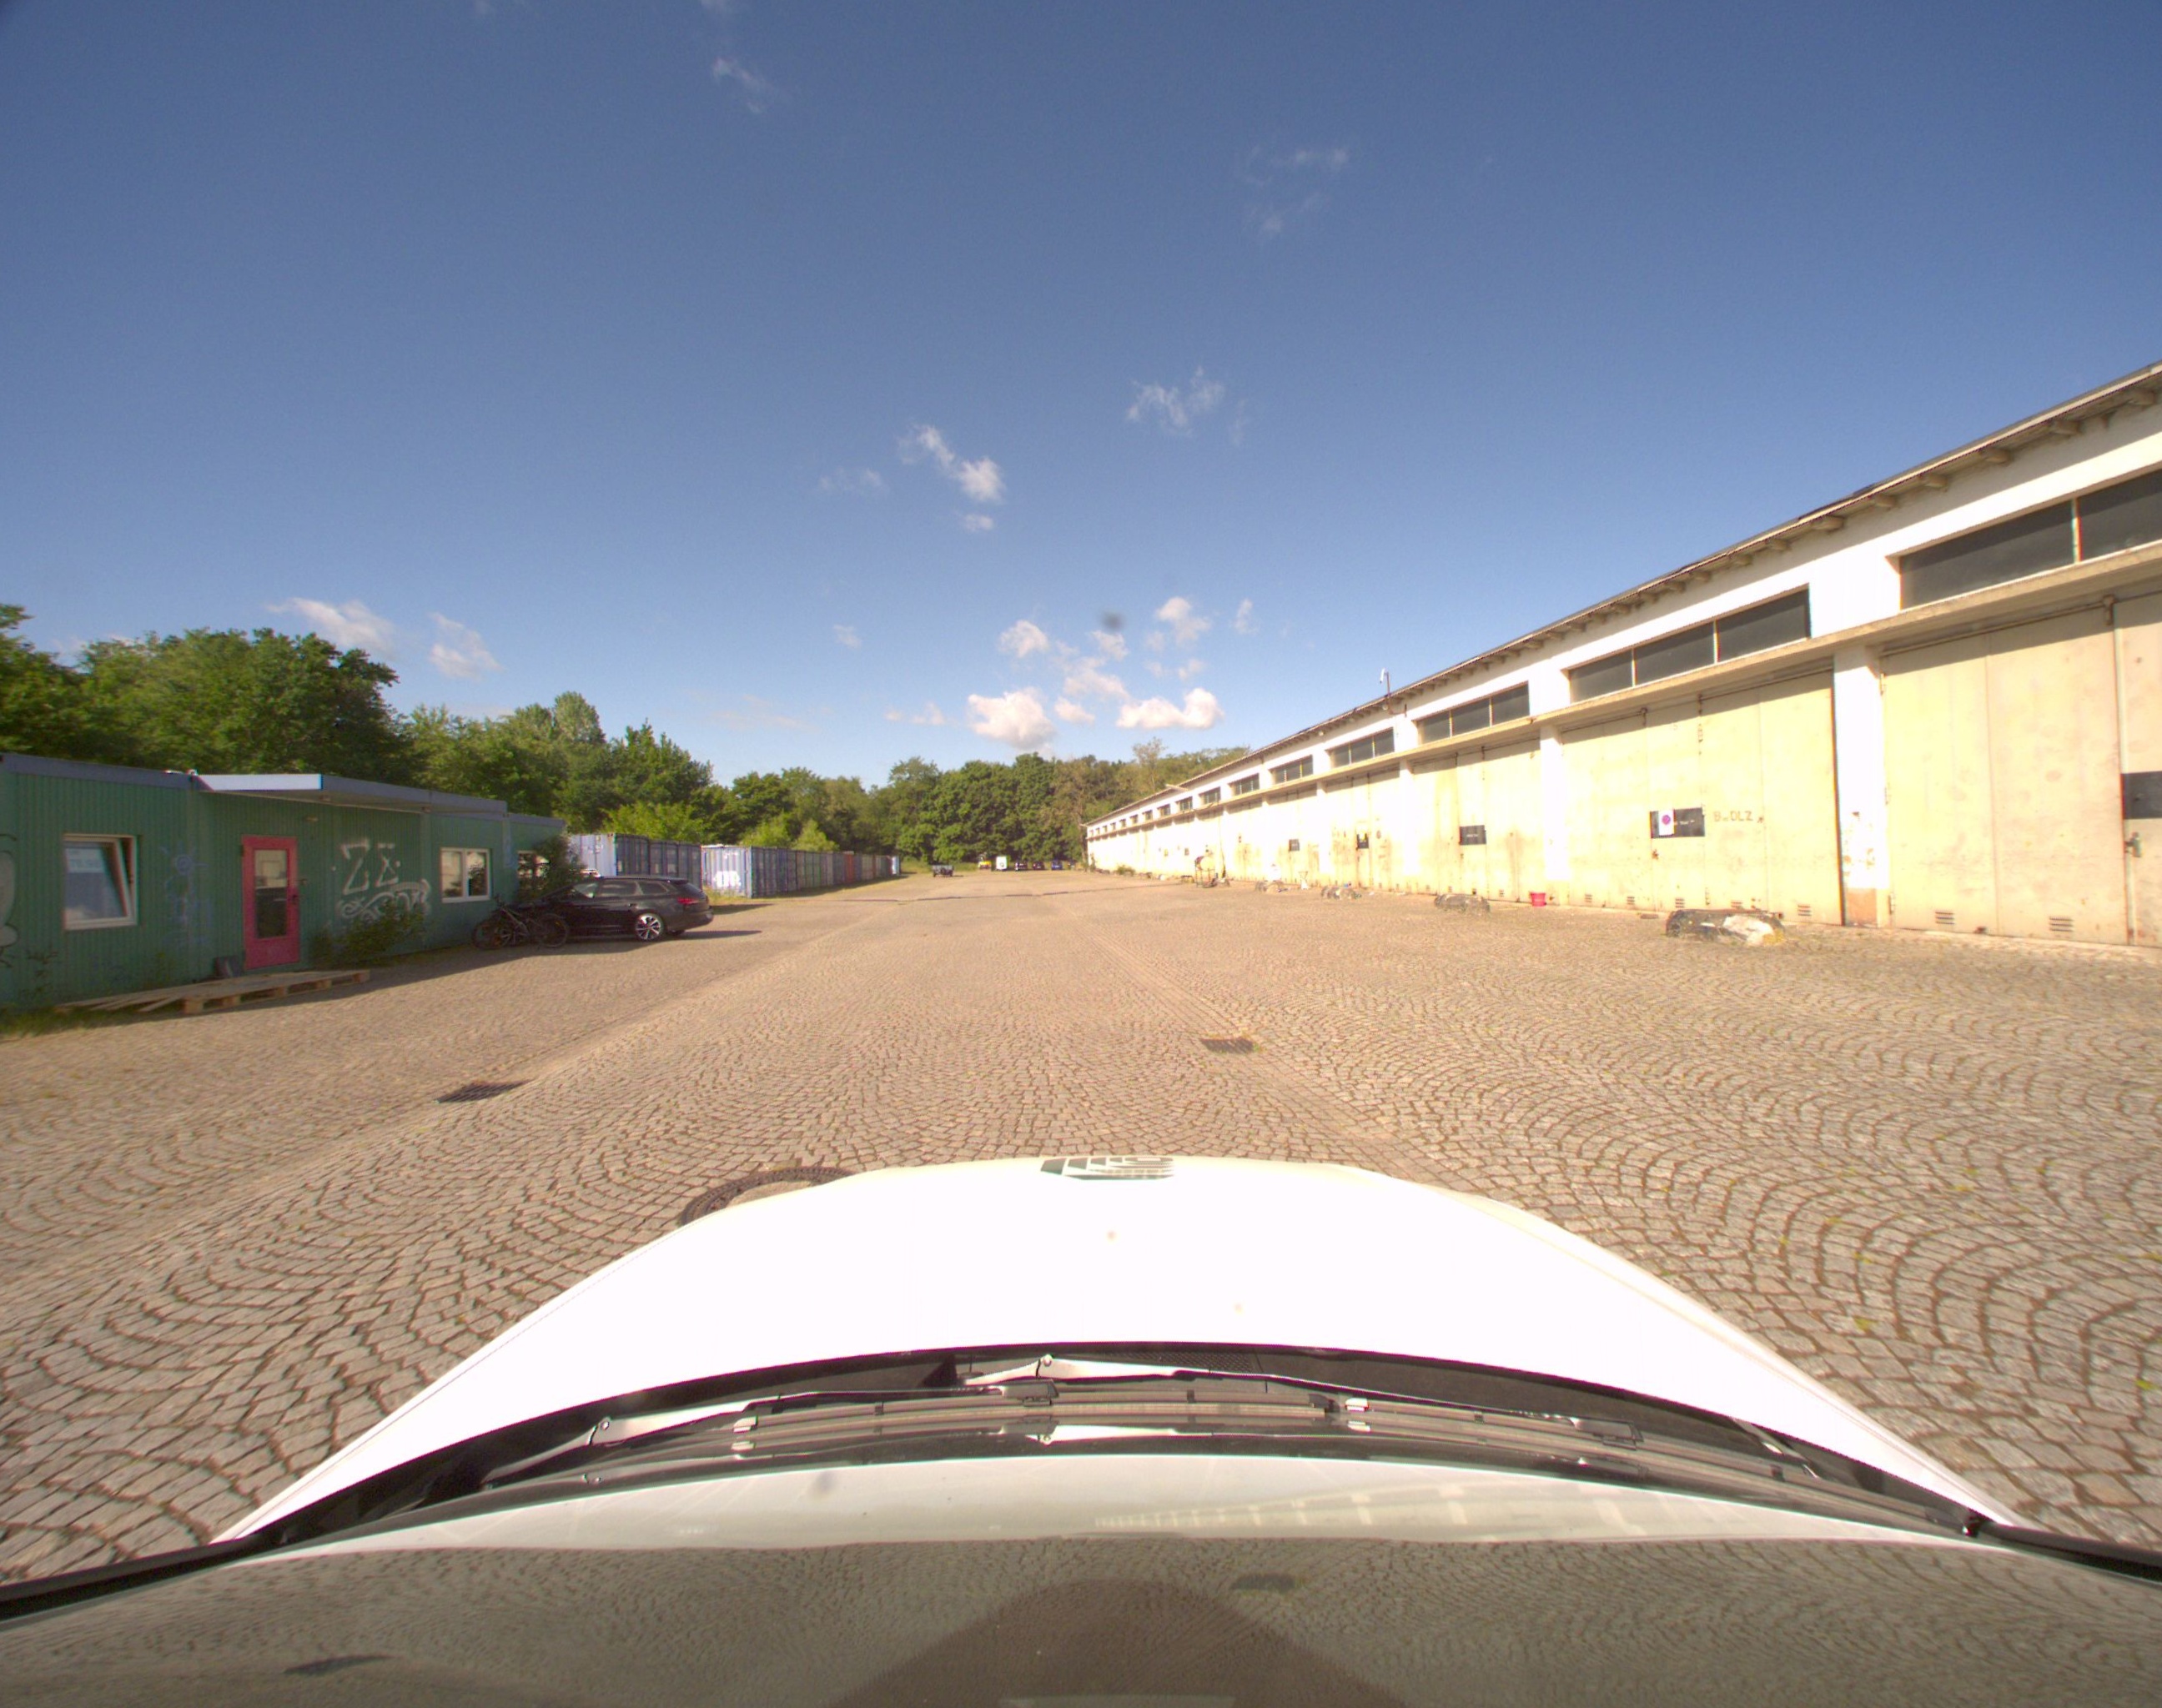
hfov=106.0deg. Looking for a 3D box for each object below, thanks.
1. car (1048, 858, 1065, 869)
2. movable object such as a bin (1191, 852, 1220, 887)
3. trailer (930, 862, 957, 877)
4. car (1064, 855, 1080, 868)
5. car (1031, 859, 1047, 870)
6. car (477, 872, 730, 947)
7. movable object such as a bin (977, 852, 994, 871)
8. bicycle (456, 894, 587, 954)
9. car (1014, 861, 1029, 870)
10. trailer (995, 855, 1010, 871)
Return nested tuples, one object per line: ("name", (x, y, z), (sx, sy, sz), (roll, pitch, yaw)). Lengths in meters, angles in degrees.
("car", (-3.523, 1.339, 117.251), (1.991, 1.466, 3.991), (-2, 0, -6))
("movable object such as a bin", (5.248, 0.653, 34.354), (0.874, 1.401, 1.099), (-2, -1, -7))
("trailer", (-16.499, 1.819, 97.939), (2.789, 1.646, 5.606), (-2, 0, -7))
("car", (-1.316, 1.133, 118.766), (1.991, 1.772, 3.991), (-2, 0, -6))
("car", (-6.092, 1.484, 116.956), (1.991, 1.424, 3.991), (-2, 0, -6))
("car", (-10.438, 1.176, 18.167), (4.414, 1.464, 1.993), (-1, -1, -10))
("movable object such as a bin", (-13.884, 1.094, 117.663), (2.231, 2.657, 3.988), (-2, 0, -9))
("bicycle", (-11.225, 1.382, 16.412), (1.874, 1.027, 1.035), (-2, 0, -9))
("car", (-8.558, 1.609, 116.286), (1.991, 1.258, 3.991), (-2, 0, -6))
("trailer", (-11.353, 1.255, 117.200), (1.991, 2.162, 4.421), (-2, 0, -7))
